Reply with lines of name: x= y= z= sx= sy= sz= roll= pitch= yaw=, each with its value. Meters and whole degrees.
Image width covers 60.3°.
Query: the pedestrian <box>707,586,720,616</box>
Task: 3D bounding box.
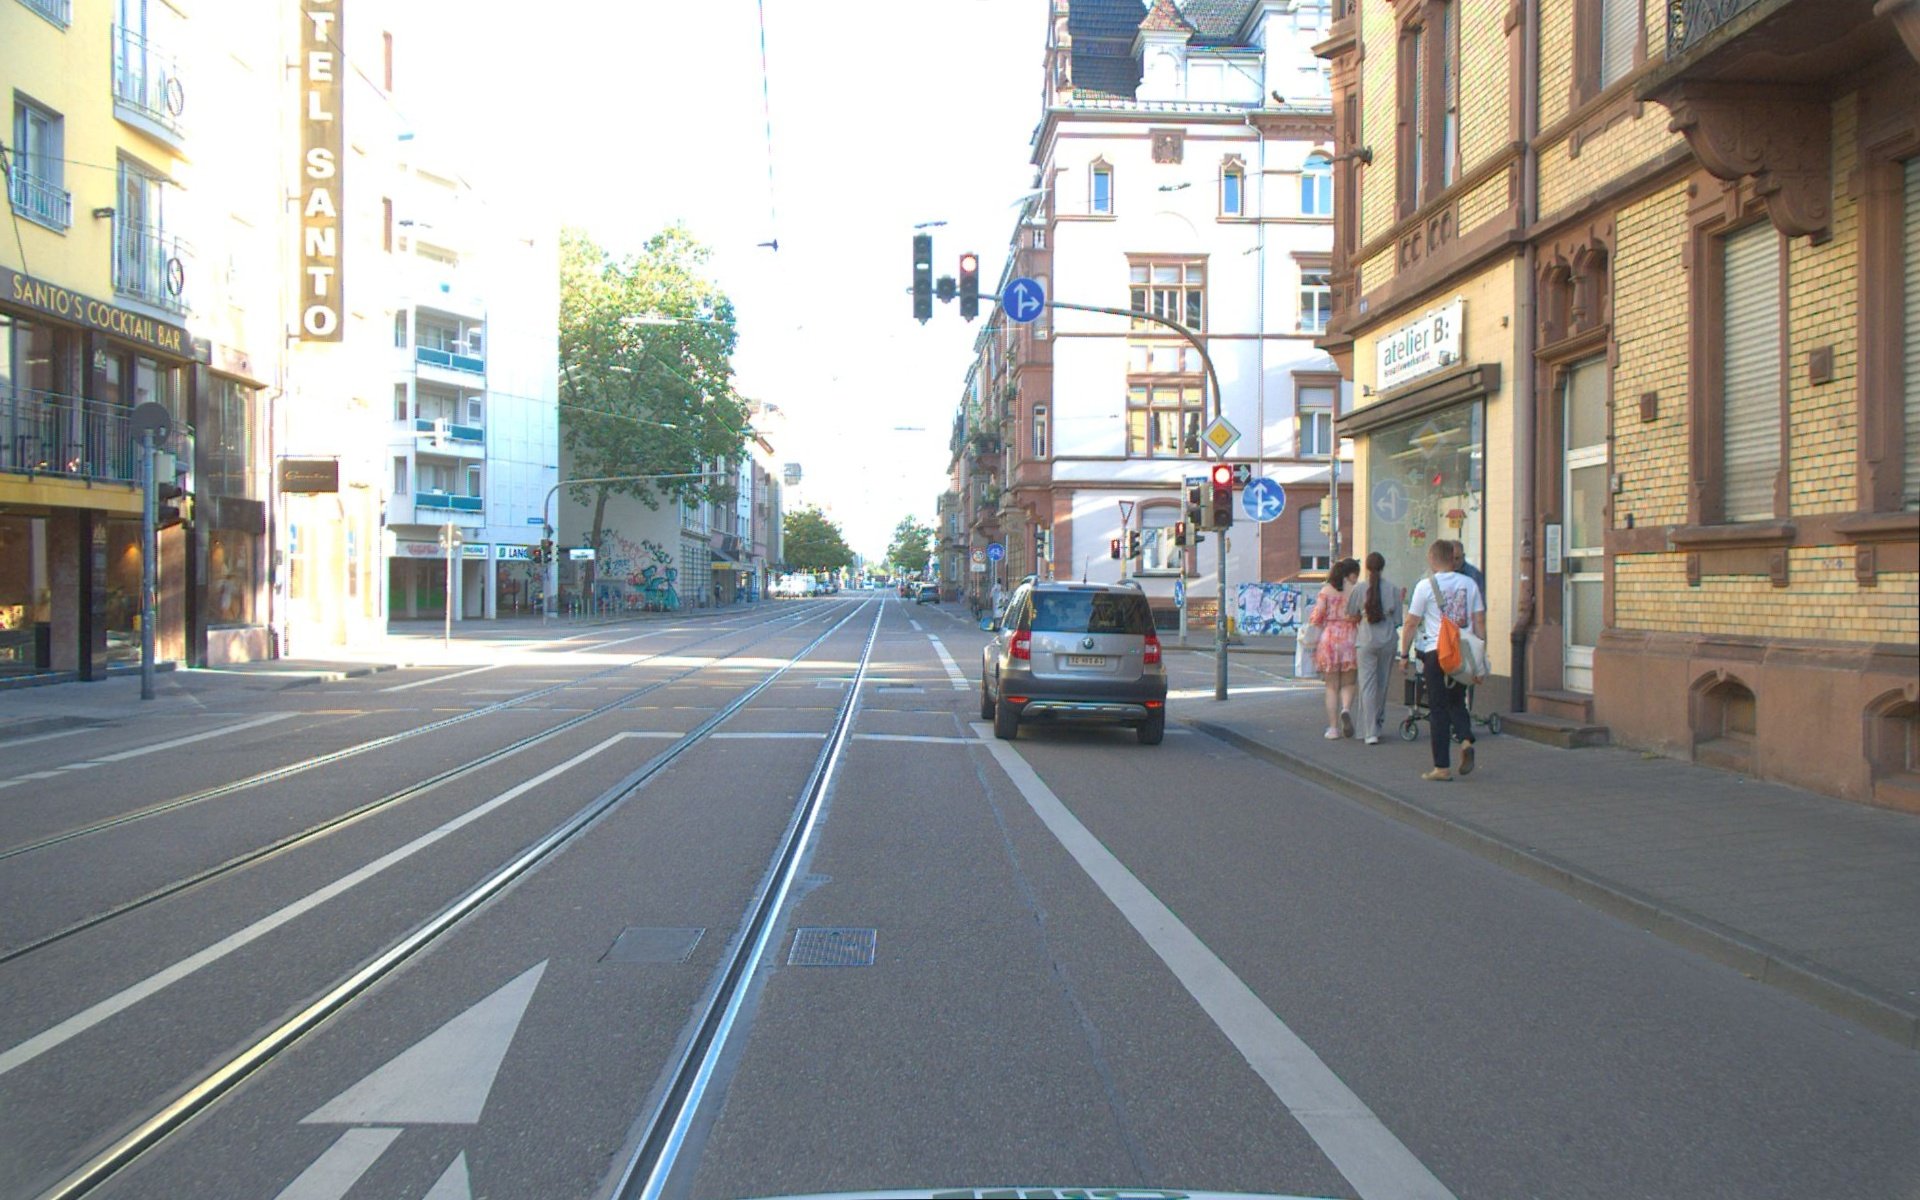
pedestrian: x=-14.532 y=0.035 z=97.429 sx=0.687 sy=1.758 sz=0.647 roll=0 pitch=0 yaw=-3

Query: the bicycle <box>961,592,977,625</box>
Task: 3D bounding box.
bicycle: x=0.363 y=0.331 z=69.571 sx=0.640 sy=1.346 sz=2.176 roll=0 pitch=1 yaw=0

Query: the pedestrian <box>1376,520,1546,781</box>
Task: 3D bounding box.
pedestrian: x=3.769 y=0.353 z=12.527 sx=0.790 sy=1.831 sz=1.091 roll=-4 pitch=1 yaw=-4

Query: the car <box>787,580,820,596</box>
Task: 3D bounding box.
car: x=-21.149 y=-1.638 z=223.655 sx=3.940 sy=2.049 sz=1.982 roll=-1 pitch=1 yaw=-28

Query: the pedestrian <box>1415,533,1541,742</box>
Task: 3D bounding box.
pedestrian: x=4.794 y=0.330 z=15.351 sx=0.789 sy=1.831 sz=0.761 roll=-4 pitch=1 yaw=-3

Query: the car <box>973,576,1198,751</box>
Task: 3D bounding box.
car: x=1.263 y=0.611 z=18.359 sx=1.954 sy=1.646 sz=3.998 roll=3 pitch=1 yaw=-3

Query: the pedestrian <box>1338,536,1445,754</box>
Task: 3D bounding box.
pedestrian: x=4.037 y=0.405 z=15.505 sx=0.677 sy=1.941 sz=0.670 roll=-4 pitch=1 yaw=-4

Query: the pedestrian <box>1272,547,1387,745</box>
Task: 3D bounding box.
pedestrian: x=3.589 y=0.430 z=16.122 sx=0.790 sy=1.831 sz=0.761 roll=-4 pitch=1 yaw=-4

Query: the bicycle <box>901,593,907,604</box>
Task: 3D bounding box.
bicycle: x=-5.306 y=-0.143 z=157.694 sx=0.563 sy=1.048 sz=1.894 roll=0 pitch=1 yaw=-1

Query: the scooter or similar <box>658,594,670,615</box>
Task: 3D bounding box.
scooter or similar: x=-15.982 y=0.229 z=89.371 sx=0.506 sy=1.075 sz=1.477 roll=0 pitch=1 yaw=-4

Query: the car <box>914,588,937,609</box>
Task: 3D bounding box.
car: x=-2.921 y=-0.150 z=138.670 sx=1.910 sy=1.713 sz=3.999 roll=0 pitch=1 yaw=-1

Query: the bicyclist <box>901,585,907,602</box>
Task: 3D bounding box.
bicyclist: x=-5.311 y=-0.627 z=157.685 sx=0.563 sy=1.581 sz=0.595 roll=0 pitch=0 yaw=-2

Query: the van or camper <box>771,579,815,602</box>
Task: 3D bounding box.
van or camper: x=-18.999 y=-1.036 z=188.193 sx=4.593 sy=2.608 sz=1.977 roll=0 pitch=0 yaw=-34

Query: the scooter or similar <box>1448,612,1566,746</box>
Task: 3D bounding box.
scooter or similar: x=4.858 y=0.693 z=14.719 sx=0.789 sy=1.088 sz=0.521 roll=-5 pitch=1 yaw=-3

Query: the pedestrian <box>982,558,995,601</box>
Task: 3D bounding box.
pedestrian: x=1.223 y=-0.870 z=70.605 sx=0.533 sy=1.811 sz=0.504 roll=0 pitch=0 yaw=-2

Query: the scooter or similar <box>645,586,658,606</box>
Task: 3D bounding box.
scooter or similar: x=-16.651 y=-0.216 z=89.299 sx=0.506 sy=1.064 sz=1.477 roll=0 pitch=1 yaw=-4
